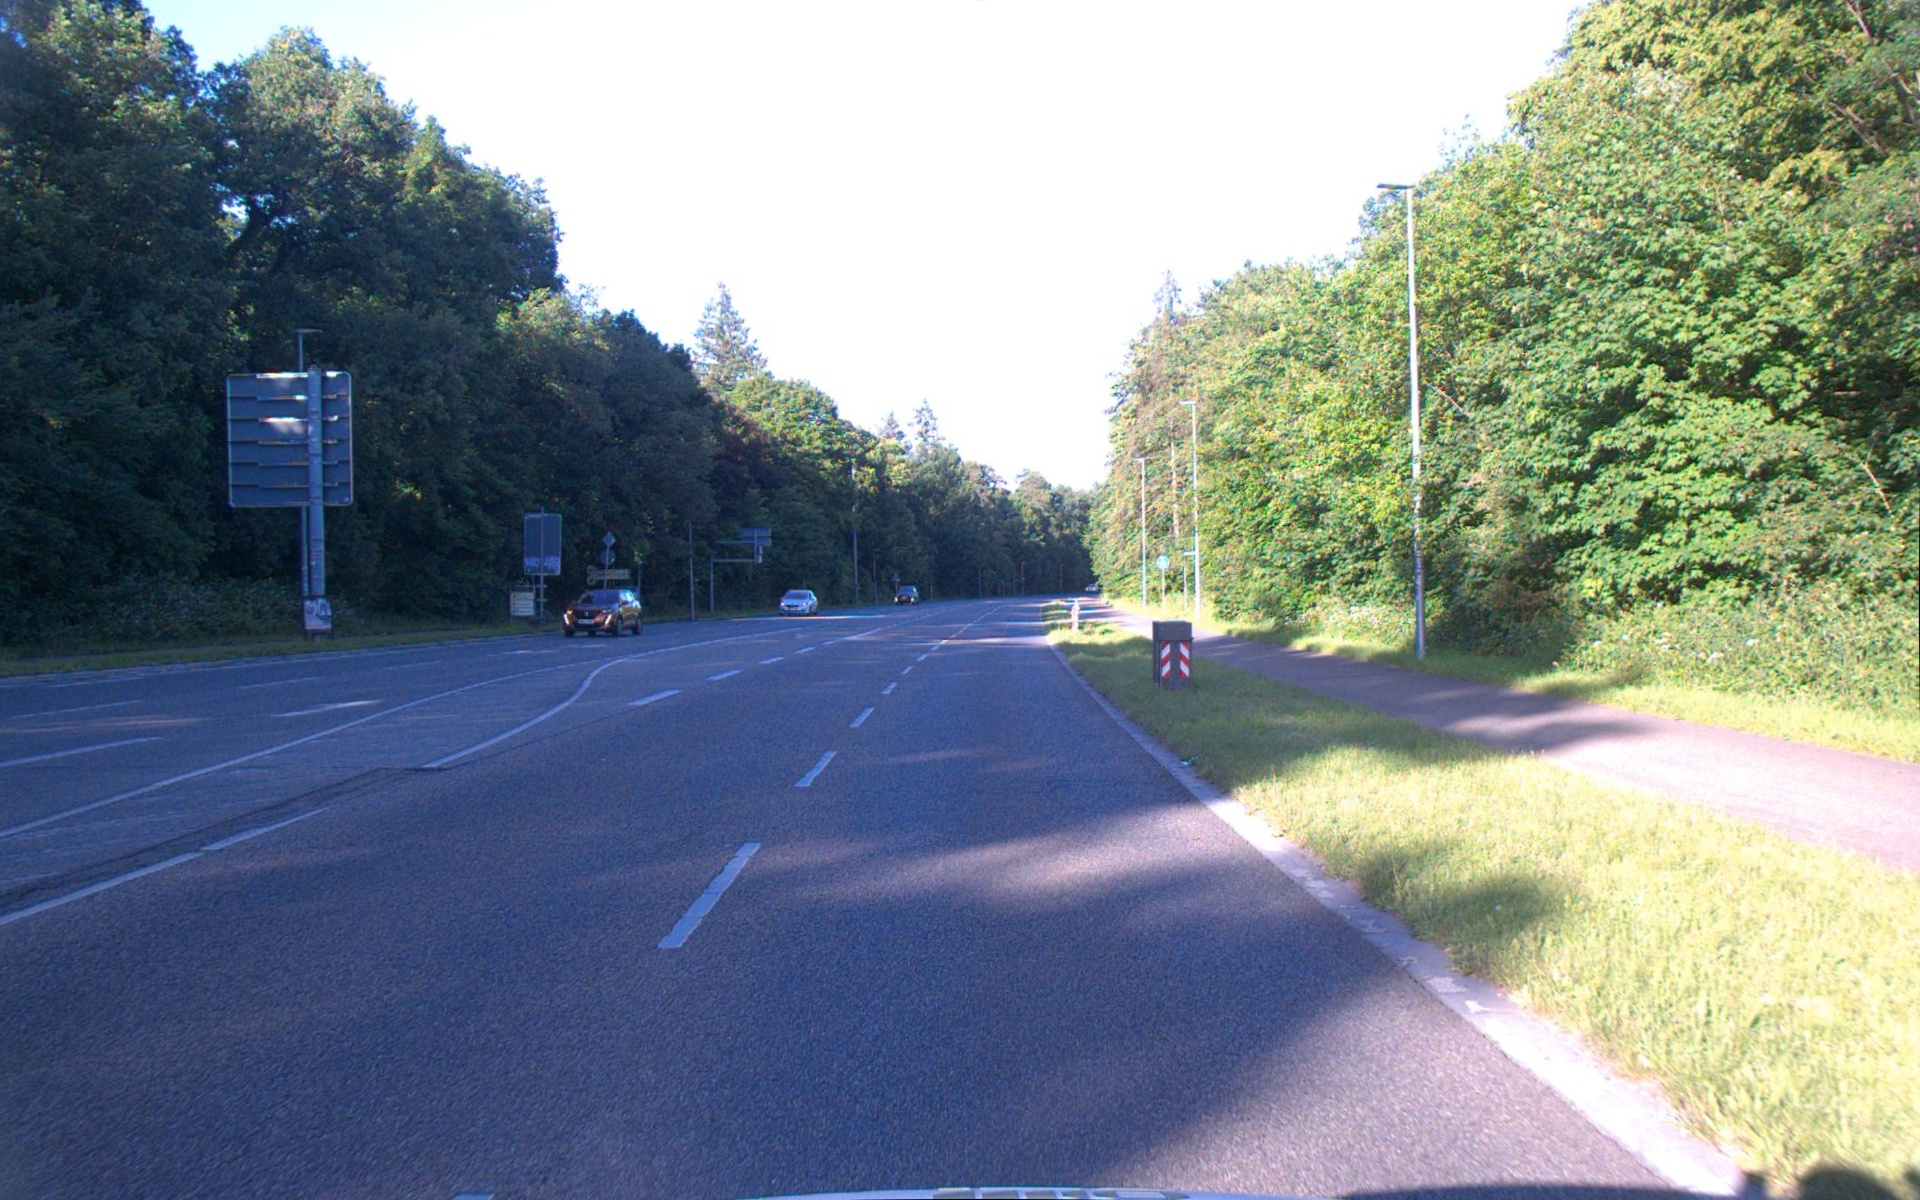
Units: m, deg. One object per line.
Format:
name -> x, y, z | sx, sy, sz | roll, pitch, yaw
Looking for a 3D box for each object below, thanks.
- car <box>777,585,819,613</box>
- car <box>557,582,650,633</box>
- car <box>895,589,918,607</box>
car -> -9.299, -0.076, 95.145 | 1.787, 1.530, 4.308 | 0, 0, 3
car -> -11.520, 0.218, 53.679 | 1.786, 1.572, 4.259 | 0, 0, 4
car -> -4.821, -0.219, 149.678 | 1.787, 1.617, 4.353 | 0, 0, 3
